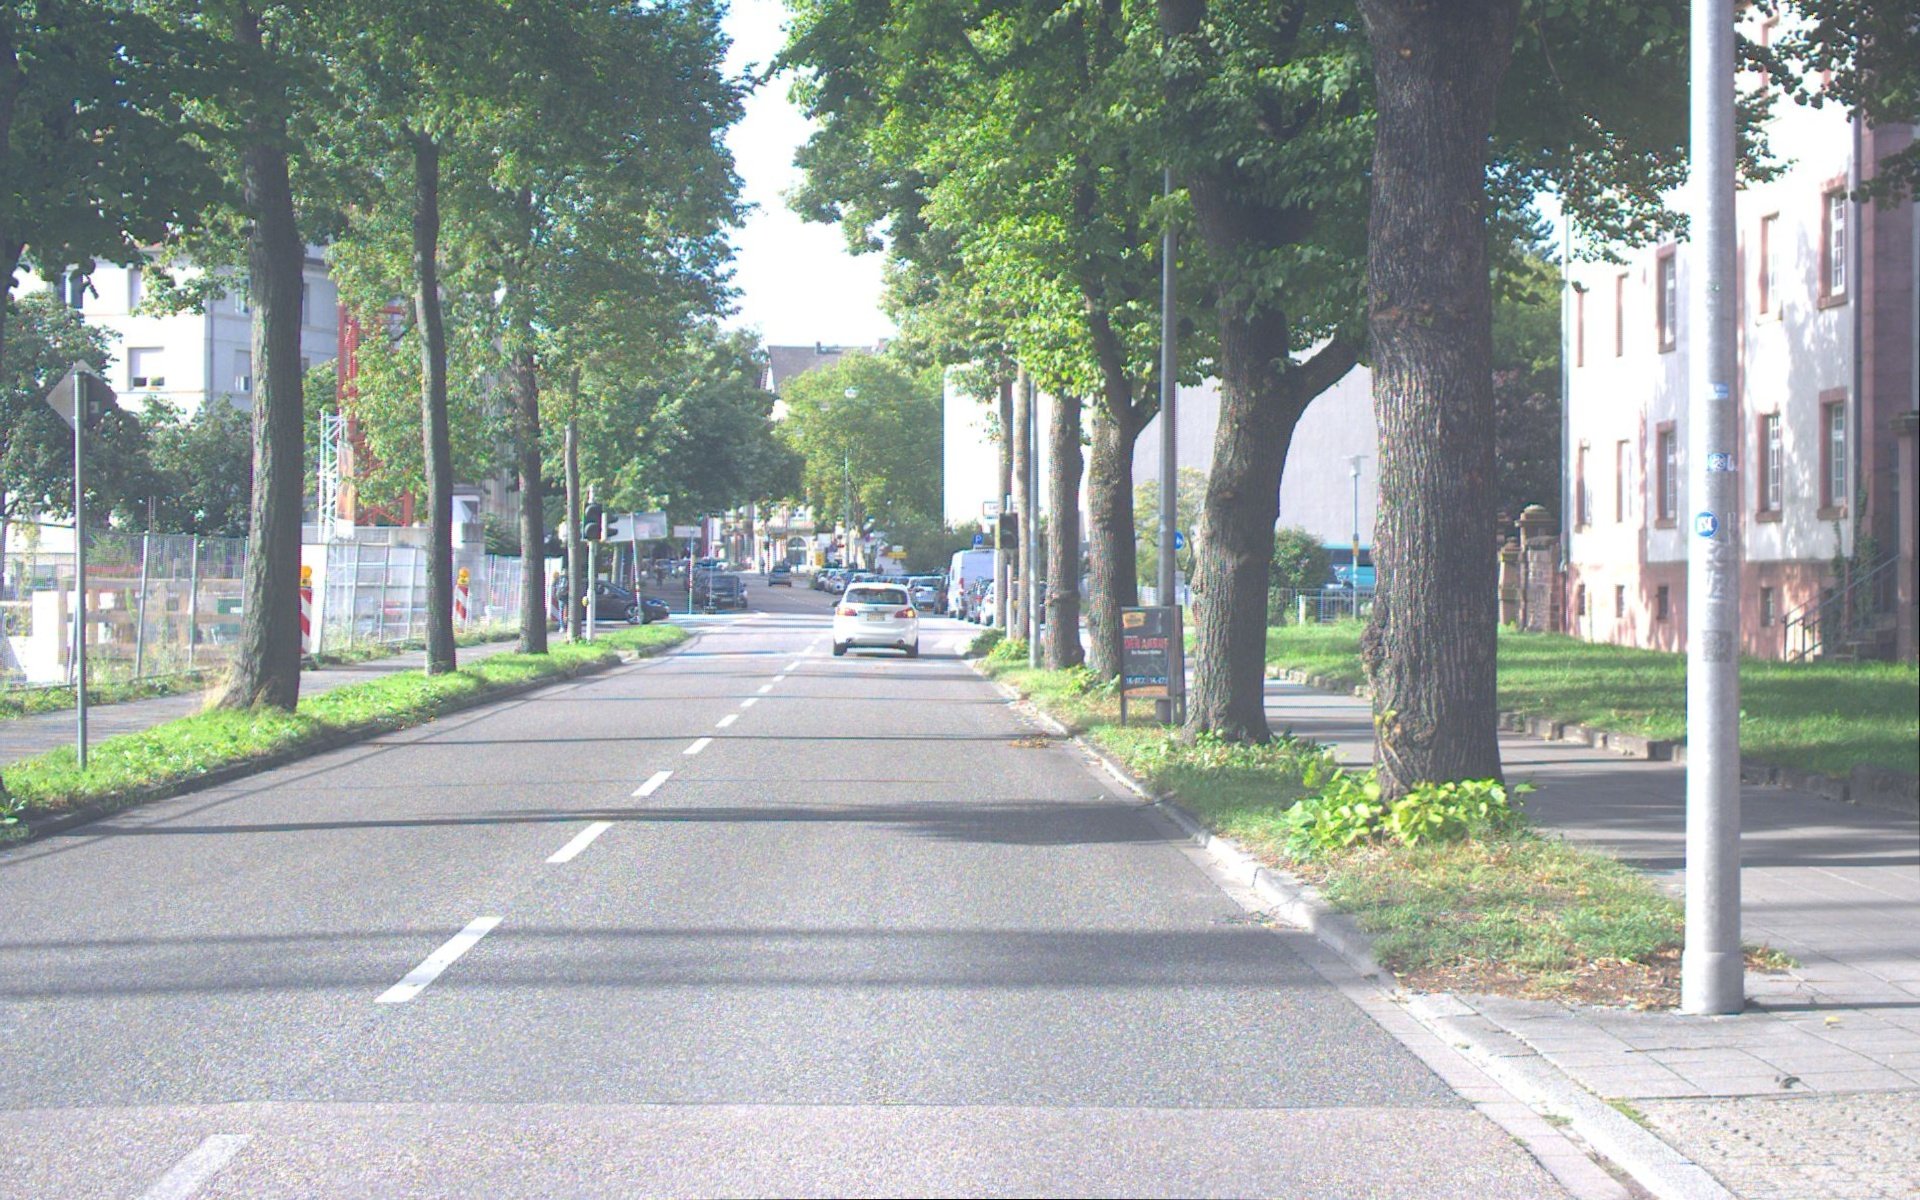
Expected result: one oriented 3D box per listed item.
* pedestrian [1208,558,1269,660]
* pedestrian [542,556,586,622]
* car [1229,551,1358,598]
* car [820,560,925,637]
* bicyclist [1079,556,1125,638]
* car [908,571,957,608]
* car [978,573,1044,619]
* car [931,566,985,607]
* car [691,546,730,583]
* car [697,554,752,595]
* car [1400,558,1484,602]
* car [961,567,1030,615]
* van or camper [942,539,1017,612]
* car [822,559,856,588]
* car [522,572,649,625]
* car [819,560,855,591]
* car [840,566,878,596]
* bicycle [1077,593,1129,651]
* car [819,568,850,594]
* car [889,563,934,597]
[{"bbox_3d":[4.403,0.141,54.354,0.814,1.585,0.769,-2,0,-2],"label":"pedestrian"},{"bbox_3d":[-10.490,-0.284,91.095,1.006,1.722,1.178,1,-1,-13],"label":"pedestrian"},{"bbox_3d":[11.817,-0.901,121.934,4.448,1.616,2.000,0,1,2],"label":"car"},{"bbox_3d":[-1.908,-0.038,73.760,1.993,1.549,4.274,1,0,-5],"label":"car"},{"bbox_3d":[2.668,-0.053,64.728,0.737,1.508,0.874,-2,0,-2],"label":"bicyclist"},{"bbox_3d":[-1.207,-0.467,147.964,1.993,1.568,4.000,0,1,-2],"label":"car"},{"bbox_3d":[1.657,-0.135,112.983,2.015,1.470,4.802,-1,0,0],"label":"car"},{"bbox_3d":[-0.095,-0.541,137.425,1.993,1.568,4.000,0,1,-2],"label":"car"},{"bbox_3d":[-13.740,-1.948,189.197,1.993,2.007,4.000,0,1,-2],"label":"car"},{"bbox_3d":[-9.775,-1.074,142.670,1.993,1.634,4.001,-1,1,-8],"label":"car"},{"bbox_3d":[16.211,-0.698,115.724,1.993,1.437,4.001,0,1,-4],"label":"car"},{"bbox_3d":[1.223,-0.336,120.482,1.993,1.610,4.409,-1,1,-5],"label":"car"},{"bbox_3d":[0.691,-0.916,126.504,2.209,2.598,5.372,-1,1,-5],"label":"van or camper"},{"bbox_3d":[-7.537,-1.616,214.018,1.993,1.749,4.000,1,0,-1],"label":"car"},{"bbox_3d":[-11.472,-0.055,105.459,1.996,1.565,3.994,1,1,27],"label":"car"},{"bbox_3d":[-7.142,-1.405,200.247,1.993,1.749,4.000,1,0,-1],"label":"car"},{"bbox_3d":[-5.461,-1.035,185.378,1.993,1.568,4.000,0,1,-2],"label":"car"},{"bbox_3d":[2.677,0.401,64.713,0.740,1.031,2.762,-2,0,-2],"label":"bicycle"},{"bbox_3d":[-8.582,-1.281,234.681,1.993,1.749,4.000,1,0,-1],"label":"car"},{"bbox_3d":[-2.266,-0.952,160.356,1.993,1.568,4.000,0,1,-2],"label":"car"}]
